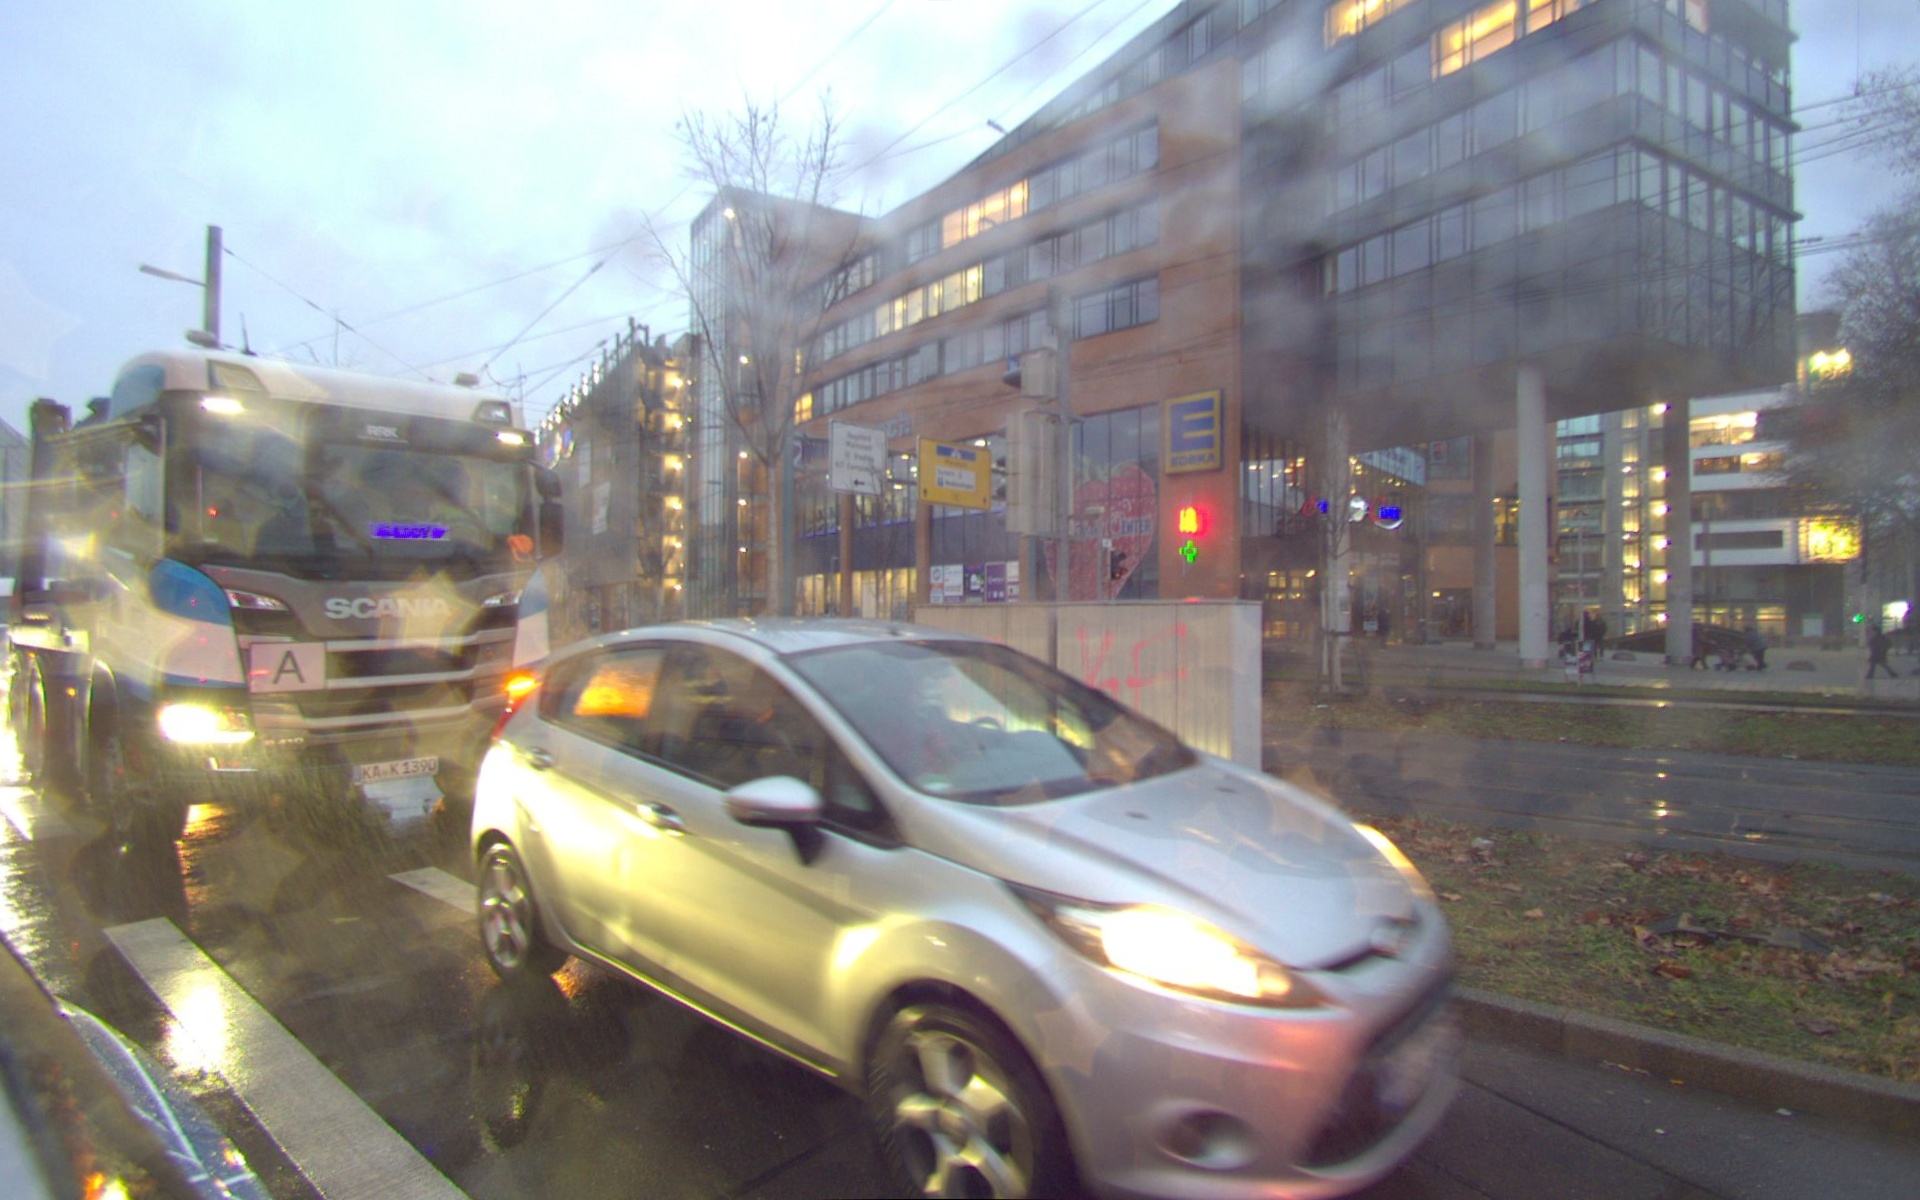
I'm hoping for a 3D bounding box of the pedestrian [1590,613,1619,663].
[{"bbox_3d":[24.482,1.455,38.428,0.723,1.878,0.574,1,-2,-14],"label":"pedestrian"}]

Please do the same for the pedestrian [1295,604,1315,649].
[{"bbox_3d":[13.698,1.045,40.227,0.658,1.766,0.534,0,-2,12],"label":"pedestrian"}]

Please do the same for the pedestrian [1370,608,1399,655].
[{"bbox_3d":[16.086,1.195,38.392,0.782,1.766,0.704,0,-2,-1],"label":"pedestrian"}]

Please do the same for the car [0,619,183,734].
[{"bbox_3d":[-13.375,1.087,15.444,3.939,1.535,1.613,-2,-3,41],"label":"car"}]

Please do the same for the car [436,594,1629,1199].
[{"bbox_3d":[-0.144,0.738,3.574,3.998,1.458,1.688,-1,0,41],"label":"car"}]

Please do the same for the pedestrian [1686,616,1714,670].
[{"bbox_3d":[24.991,1.446,34.180,0.564,1.787,0.638,2,-2,-43],"label":"pedestrian"}]

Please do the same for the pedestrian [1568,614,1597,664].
[{"bbox_3d":[23.521,1.475,38.227,0.723,1.878,0.574,1,-2,-13],"label":"pedestrian"}]

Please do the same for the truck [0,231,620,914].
[{"bbox_3d":[-6.316,-0.076,8.937,7.521,3.661,2.810,-1,-2,40],"label":"truck"}]

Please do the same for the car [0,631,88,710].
[{"bbox_3d":[-17.992,1.278,19.237,4.057,1.355,1.735,-1,-2,44],"label":"car"}]

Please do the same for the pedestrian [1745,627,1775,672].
[{"bbox_3d":[26.585,1.631,33.648,0.564,1.470,0.685,2,-2,-43],"label":"pedestrian"}]

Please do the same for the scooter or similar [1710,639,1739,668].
[{"bbox_3d":[25.436,1.778,33.682,0.545,0.968,0.667,2,-2,-43],"label":"scooter or similar"}]

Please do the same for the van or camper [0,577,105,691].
[{"bbox_3d":[-23.171,0.815,25.031,5.894,2.551,2.126,-1,-2,40],"label":"van or camper"}]

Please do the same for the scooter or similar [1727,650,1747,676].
[{"bbox_3d":[26.157,2.107,34.076,0.545,0.856,0.433,2,-2,-43],"label":"scooter or similar"}]

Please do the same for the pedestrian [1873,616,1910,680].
[{"bbox_3d":[27.722,1.417,30.121,0.564,1.878,0.736,2,-2,-43],"label":"pedestrian"}]

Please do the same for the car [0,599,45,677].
[{"bbox_3d":[-37.568,1.444,39.490,5.811,2.885,2.101,-1,-2,42],"label":"car"}]
